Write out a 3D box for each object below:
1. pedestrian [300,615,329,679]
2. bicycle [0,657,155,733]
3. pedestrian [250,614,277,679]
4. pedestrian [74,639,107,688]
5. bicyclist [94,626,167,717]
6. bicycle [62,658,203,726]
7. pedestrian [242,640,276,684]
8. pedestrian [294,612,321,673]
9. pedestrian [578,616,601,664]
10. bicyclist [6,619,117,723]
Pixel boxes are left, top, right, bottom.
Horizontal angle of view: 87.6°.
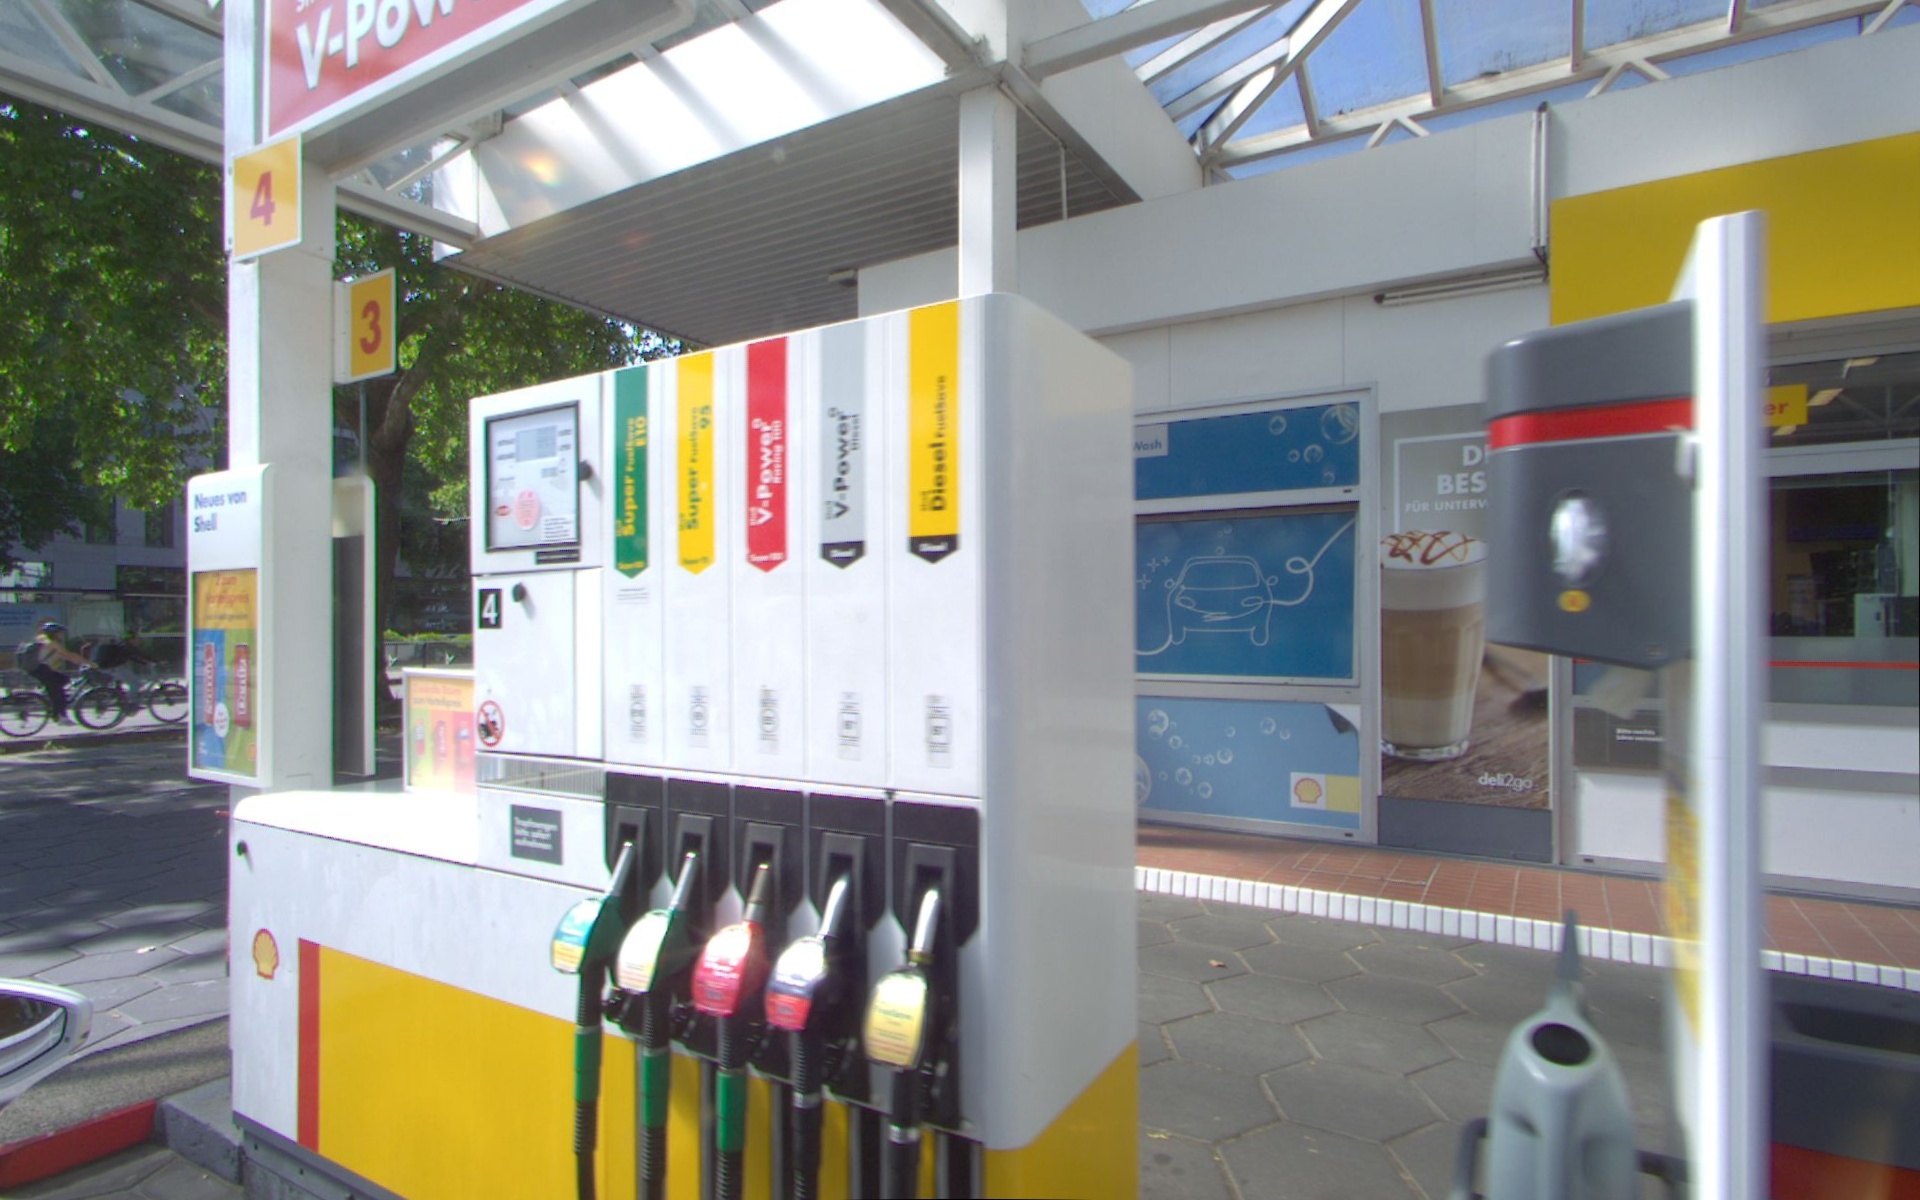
[{"bbox_3d":[-18.090,1.307,28.061,0.517,1.758,0.498,0,-1,34],"label":"pedestrian"},{"bbox_3d":[-14.444,1.510,16.307,0.629,1.096,2.021,0,-1,23],"label":"bicycle"},{"bbox_3d":[-18.879,1.252,27.146,0.401,1.758,0.498,0,-1,34],"label":"pedestrian"},{"bbox_3d":[-20.704,1.506,23.839,0.517,1.152,0.497,-1,-1,38],"label":"pedestrian"},{"bbox_3d":[-14.697,1.243,17.751,0.527,1.563,0.861,-1,-1,31],"label":"bicyclist"},{"bbox_3d":[-14.640,1.600,17.777,0.517,1.096,1.859,0,-1,30],"label":"bicycle"},{"bbox_3d":[-18.889,1.662,26.969,0.517,1.152,0.626,0,-1,38],"label":"pedestrian"},{"bbox_3d":[-19.114,1.238,29.314,0.517,1.758,0.498,0,-1,34],"label":"pedestrian"},{"bbox_3d":[-13.859,1.494,37.442,0.689,1.758,0.498,1,-1,-43],"label":"pedestrian"},{"bbox_3d":[-14.504,1.118,16.188,0.629,1.600,1.170,0,-1,22],"label":"bicyclist"}]
